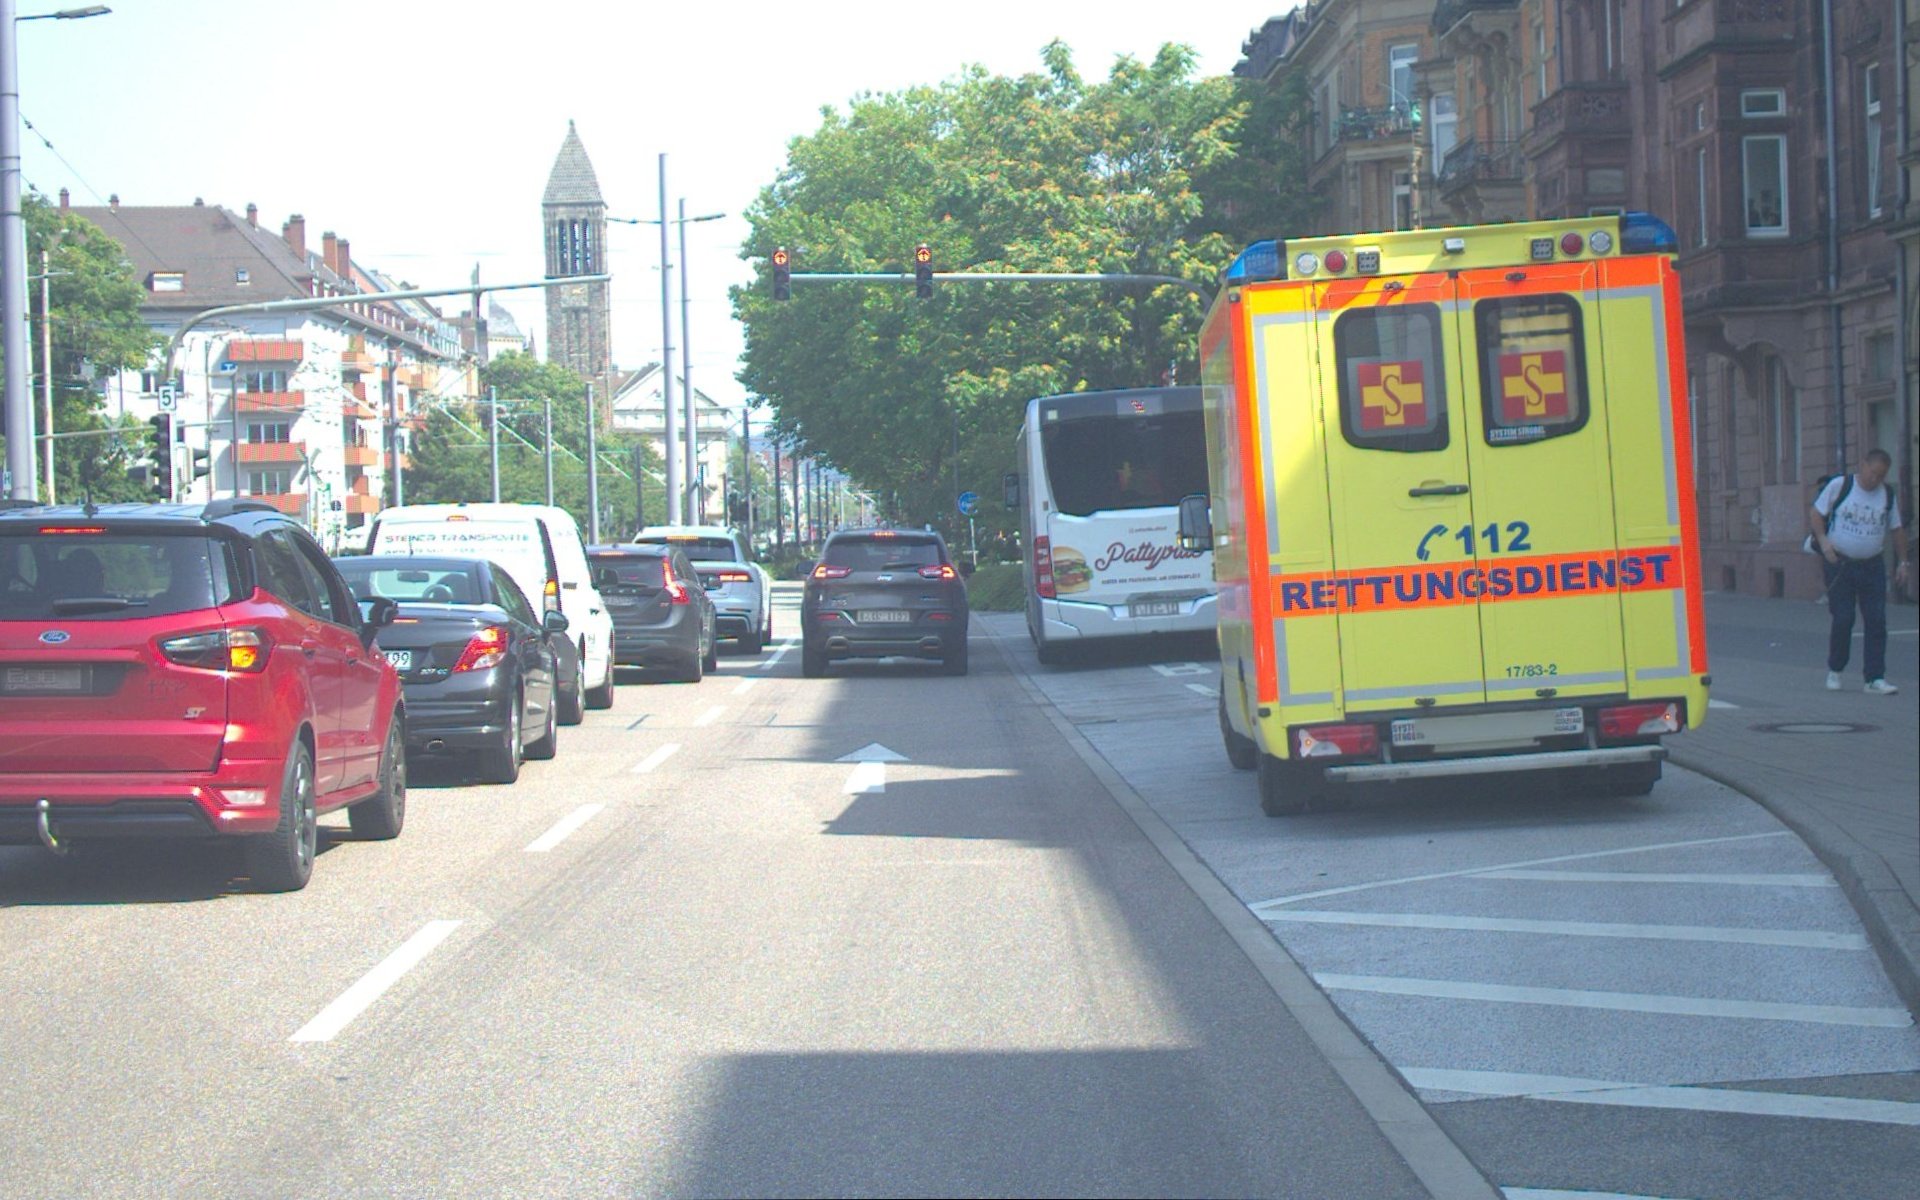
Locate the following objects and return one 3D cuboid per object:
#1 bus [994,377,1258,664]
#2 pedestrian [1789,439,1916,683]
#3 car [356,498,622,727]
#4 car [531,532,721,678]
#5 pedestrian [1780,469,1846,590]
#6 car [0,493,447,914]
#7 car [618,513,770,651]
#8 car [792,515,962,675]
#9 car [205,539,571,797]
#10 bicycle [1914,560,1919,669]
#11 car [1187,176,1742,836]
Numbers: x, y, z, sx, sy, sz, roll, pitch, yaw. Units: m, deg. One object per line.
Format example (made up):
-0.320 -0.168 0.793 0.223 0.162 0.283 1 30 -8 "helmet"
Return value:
1.853 -0.984 43.305 2.534 3.021 12.437 -2 1 -1 "bus"
6.229 -0.276 23.983 0.697 1.661 0.602 -2 2 25 "pedestrian"
-3.923 0.082 29.209 1.790 1.774 4.000 -1 0 -2 "car"
-3.594 0.037 37.557 1.790 1.467 4.000 -1 0 -2 "car"
11.453 -0.946 46.152 0.622 1.587 0.696 -2 1 -6 "pedestrian"
-3.544 0.365 15.413 1.762 1.612 4.082 -2 1 1 "car"
-3.479 -0.242 45.465 1.790 1.692 4.000 -1 0 -2 "car"
-0.962 -0.066 38.961 1.790 1.672 4.000 -1 0 -2 "car"
-3.558 0.362 22.048 1.790 1.426 4.001 -2 1 -2 "car"
7.793 0.100 25.957 0.589 0.852 1.775 -3 0 -2 "bicycle"
2.464 -0.497 18.343 2.299 2.878 5.599 -3 1 3 "car"
